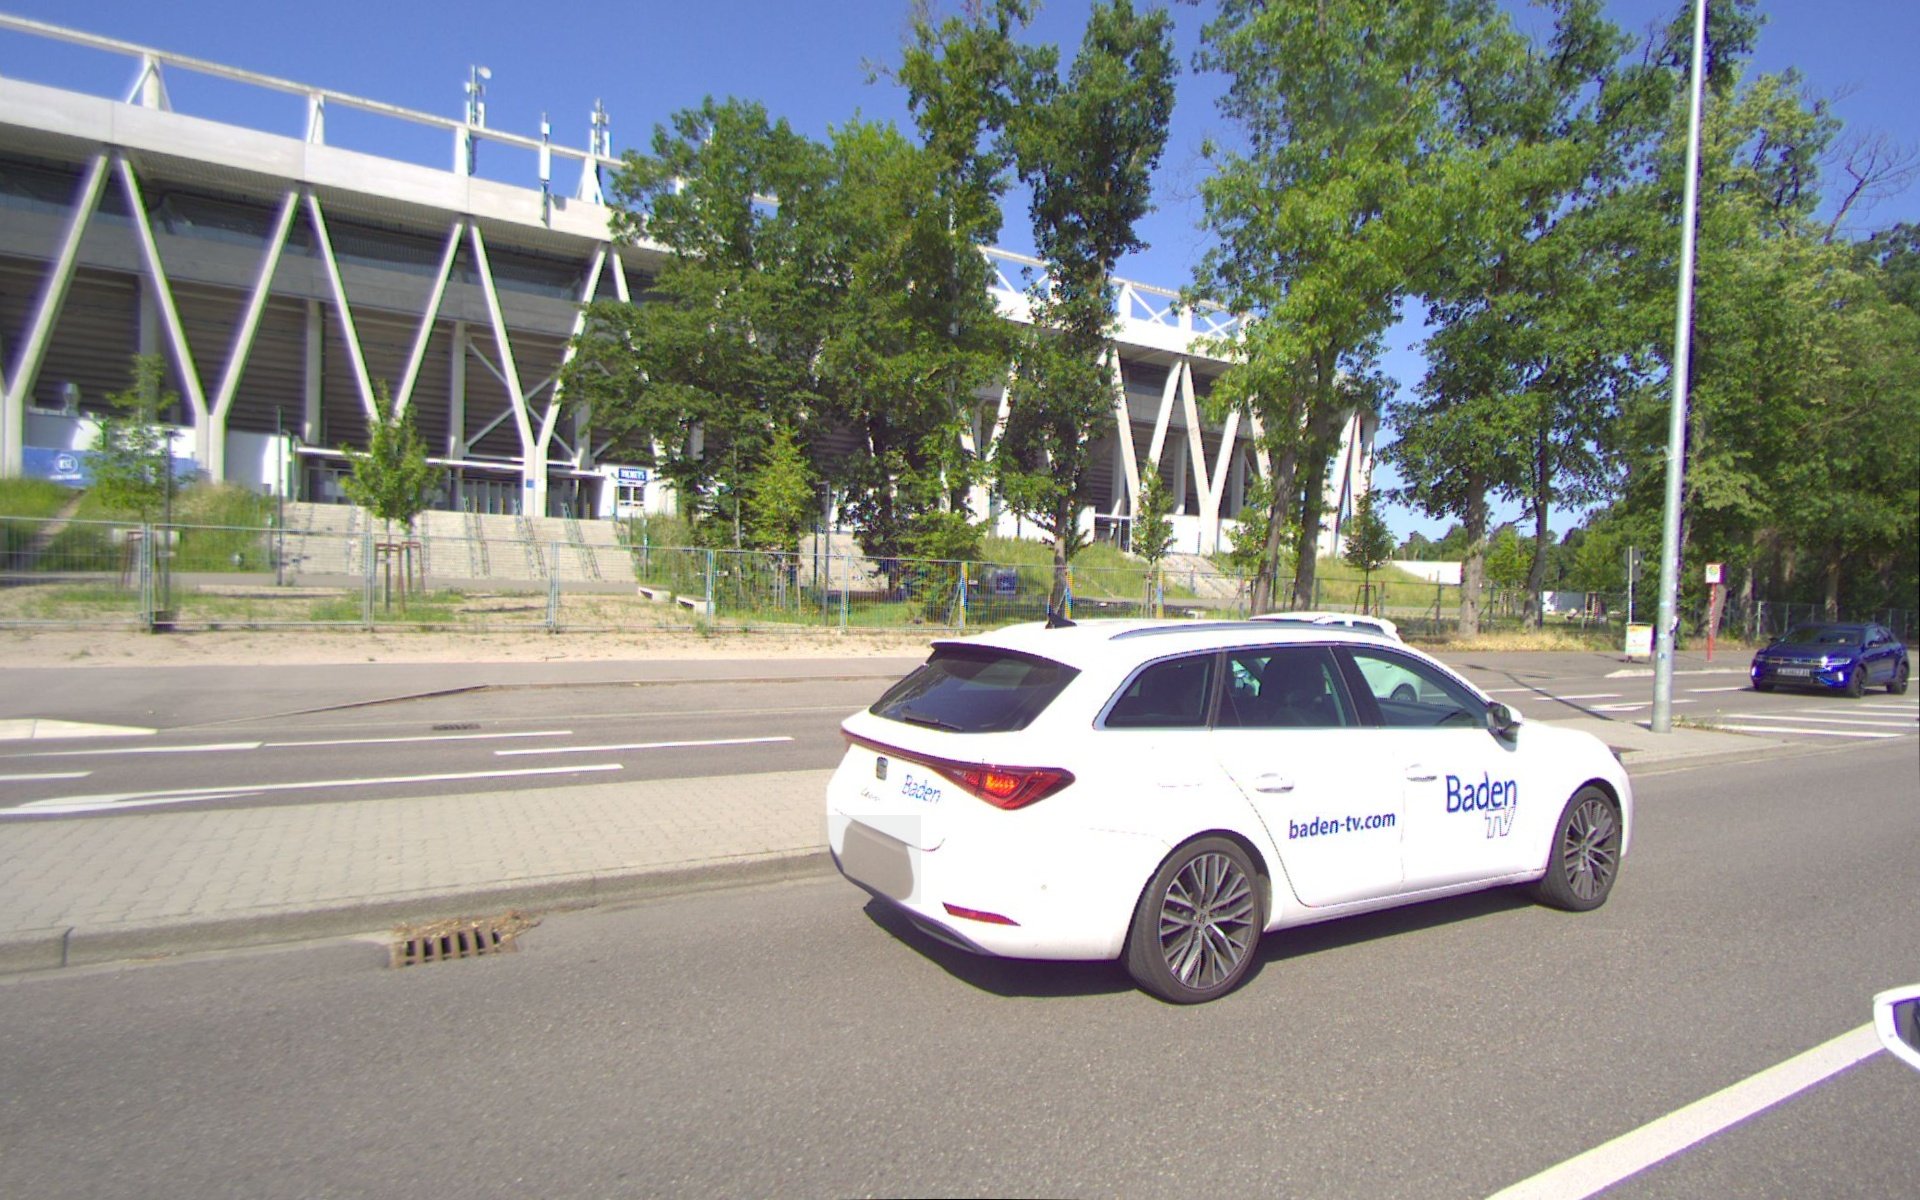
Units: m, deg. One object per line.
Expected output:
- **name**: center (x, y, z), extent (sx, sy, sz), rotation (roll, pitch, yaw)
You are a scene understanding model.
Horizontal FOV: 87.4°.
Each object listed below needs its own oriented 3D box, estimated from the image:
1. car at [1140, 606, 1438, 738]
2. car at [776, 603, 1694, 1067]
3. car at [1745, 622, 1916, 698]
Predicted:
- **car**: center (4.302, 0.863, 13.001), extent (3.756, 1.486, 1.615), rotation (1, -1, -31)
- **car**: center (1.586, 0.784, 5.093), extent (4.664, 1.446, 1.717), rotation (1, 0, -30)
- **car**: center (19.072, 1.263, 21.984), extent (3.903, 1.506, 1.744), rotation (1, -1, -32)
